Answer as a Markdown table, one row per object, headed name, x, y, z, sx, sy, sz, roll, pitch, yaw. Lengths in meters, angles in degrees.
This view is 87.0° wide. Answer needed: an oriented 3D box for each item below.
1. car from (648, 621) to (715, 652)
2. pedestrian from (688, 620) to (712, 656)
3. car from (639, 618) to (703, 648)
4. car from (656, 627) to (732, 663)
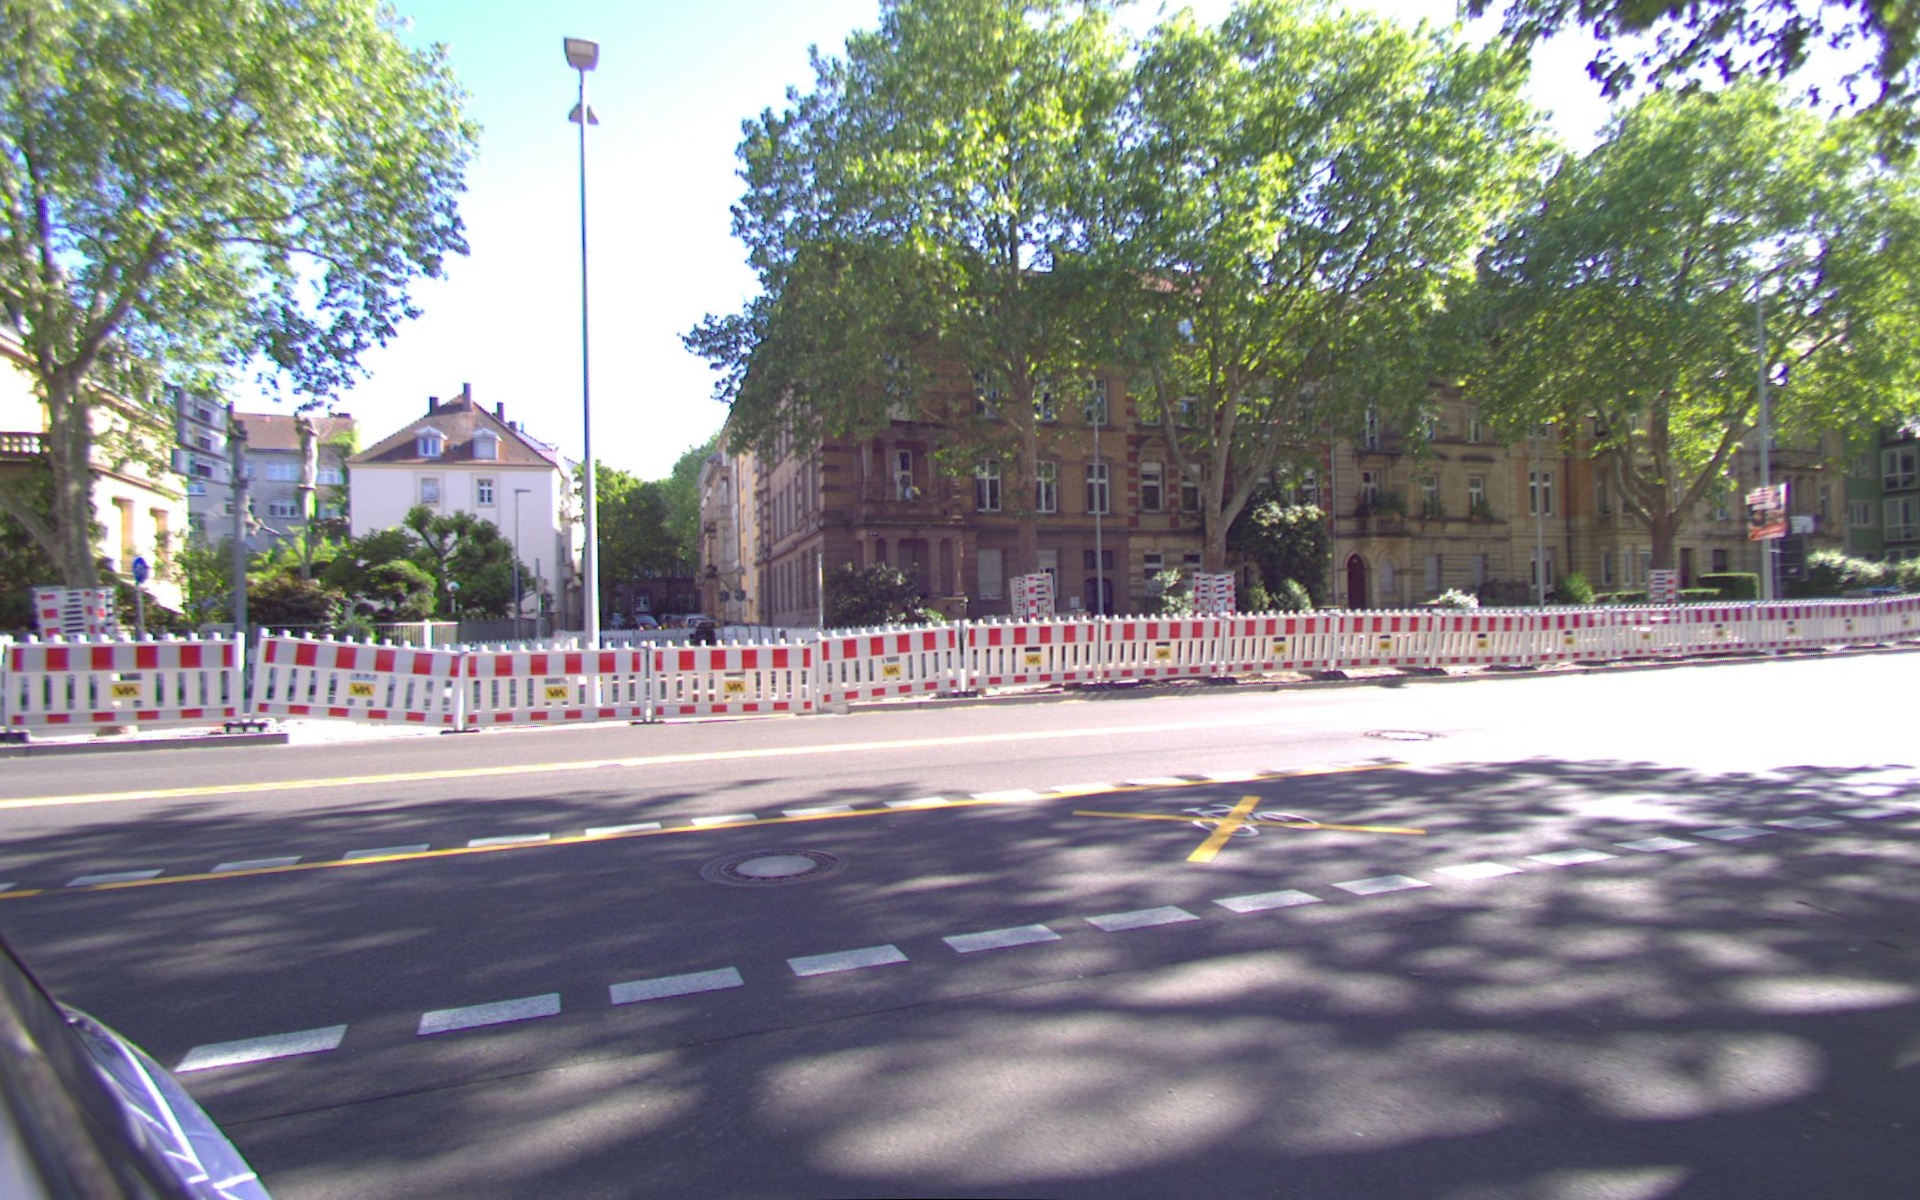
| name | x | y | z | sx | sy | sz | roll | pitch | yaw |
| --- | --- | --- | --- | --- | --- | --- | --- | --- | --- |
| car | -16.090 | 2.100 | 58.395 | 3.616 | 1.662 | 1.605 | -1 | -1 | -18 |
| pedestrian | -12.325 | 1.800 | 47.997 | 0.828 | 1.673 | 0.749 | -3 | -2 | 45 |
| car | -18.009 | 2.019 | 62.946 | 3.738 | 1.749 | 1.627 | -1 | -2 | -18 |
| car | -14.074 | 2.342 | 53.515 | 3.738 | 1.749 | 1.627 | -1 | -2 | -18 |
